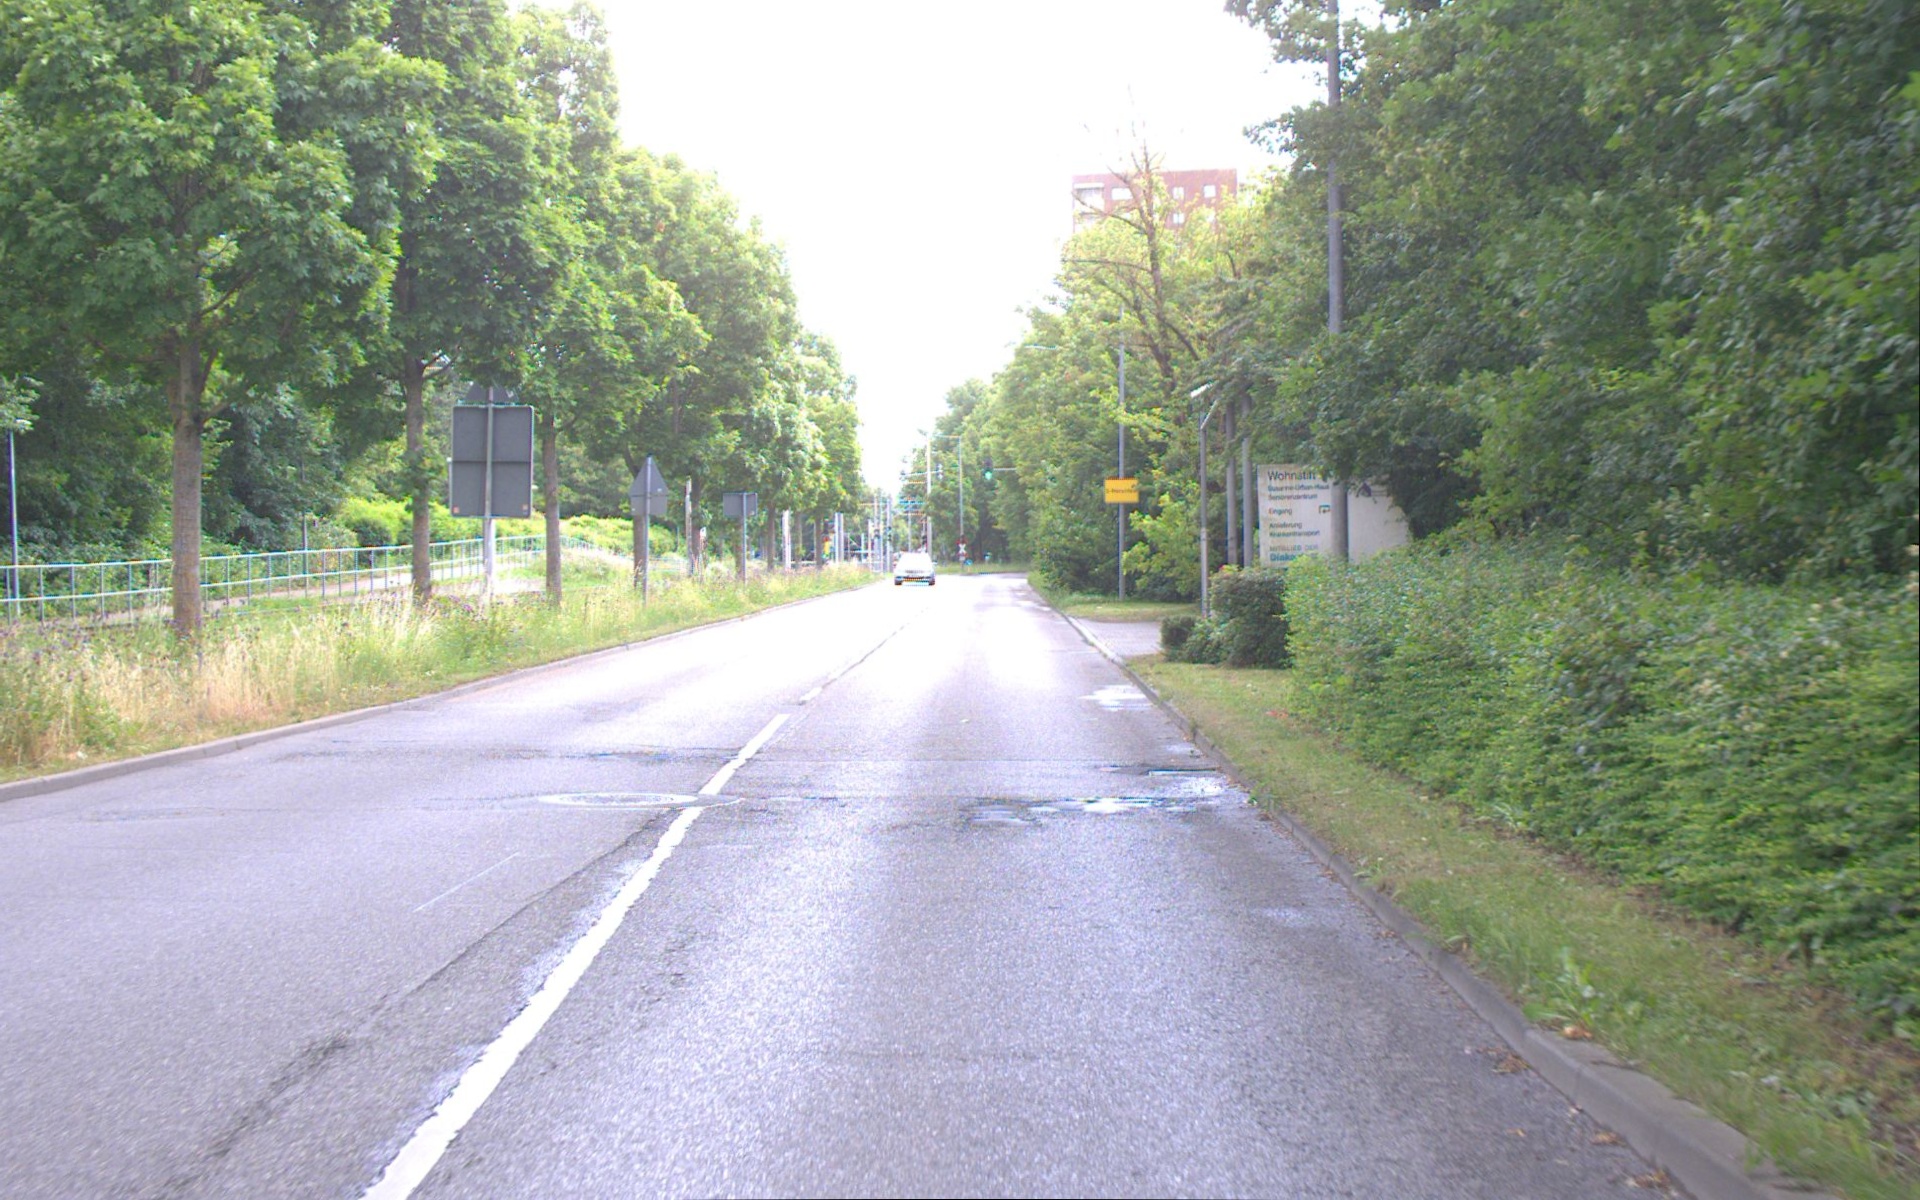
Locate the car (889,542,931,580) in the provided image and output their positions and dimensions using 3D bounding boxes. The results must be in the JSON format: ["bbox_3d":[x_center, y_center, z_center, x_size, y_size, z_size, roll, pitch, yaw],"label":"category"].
[{"bbox_3d":[-2.250,-1.770,156.810,1.716,1.624,4.000,3,1,1],"label":"car"}]
